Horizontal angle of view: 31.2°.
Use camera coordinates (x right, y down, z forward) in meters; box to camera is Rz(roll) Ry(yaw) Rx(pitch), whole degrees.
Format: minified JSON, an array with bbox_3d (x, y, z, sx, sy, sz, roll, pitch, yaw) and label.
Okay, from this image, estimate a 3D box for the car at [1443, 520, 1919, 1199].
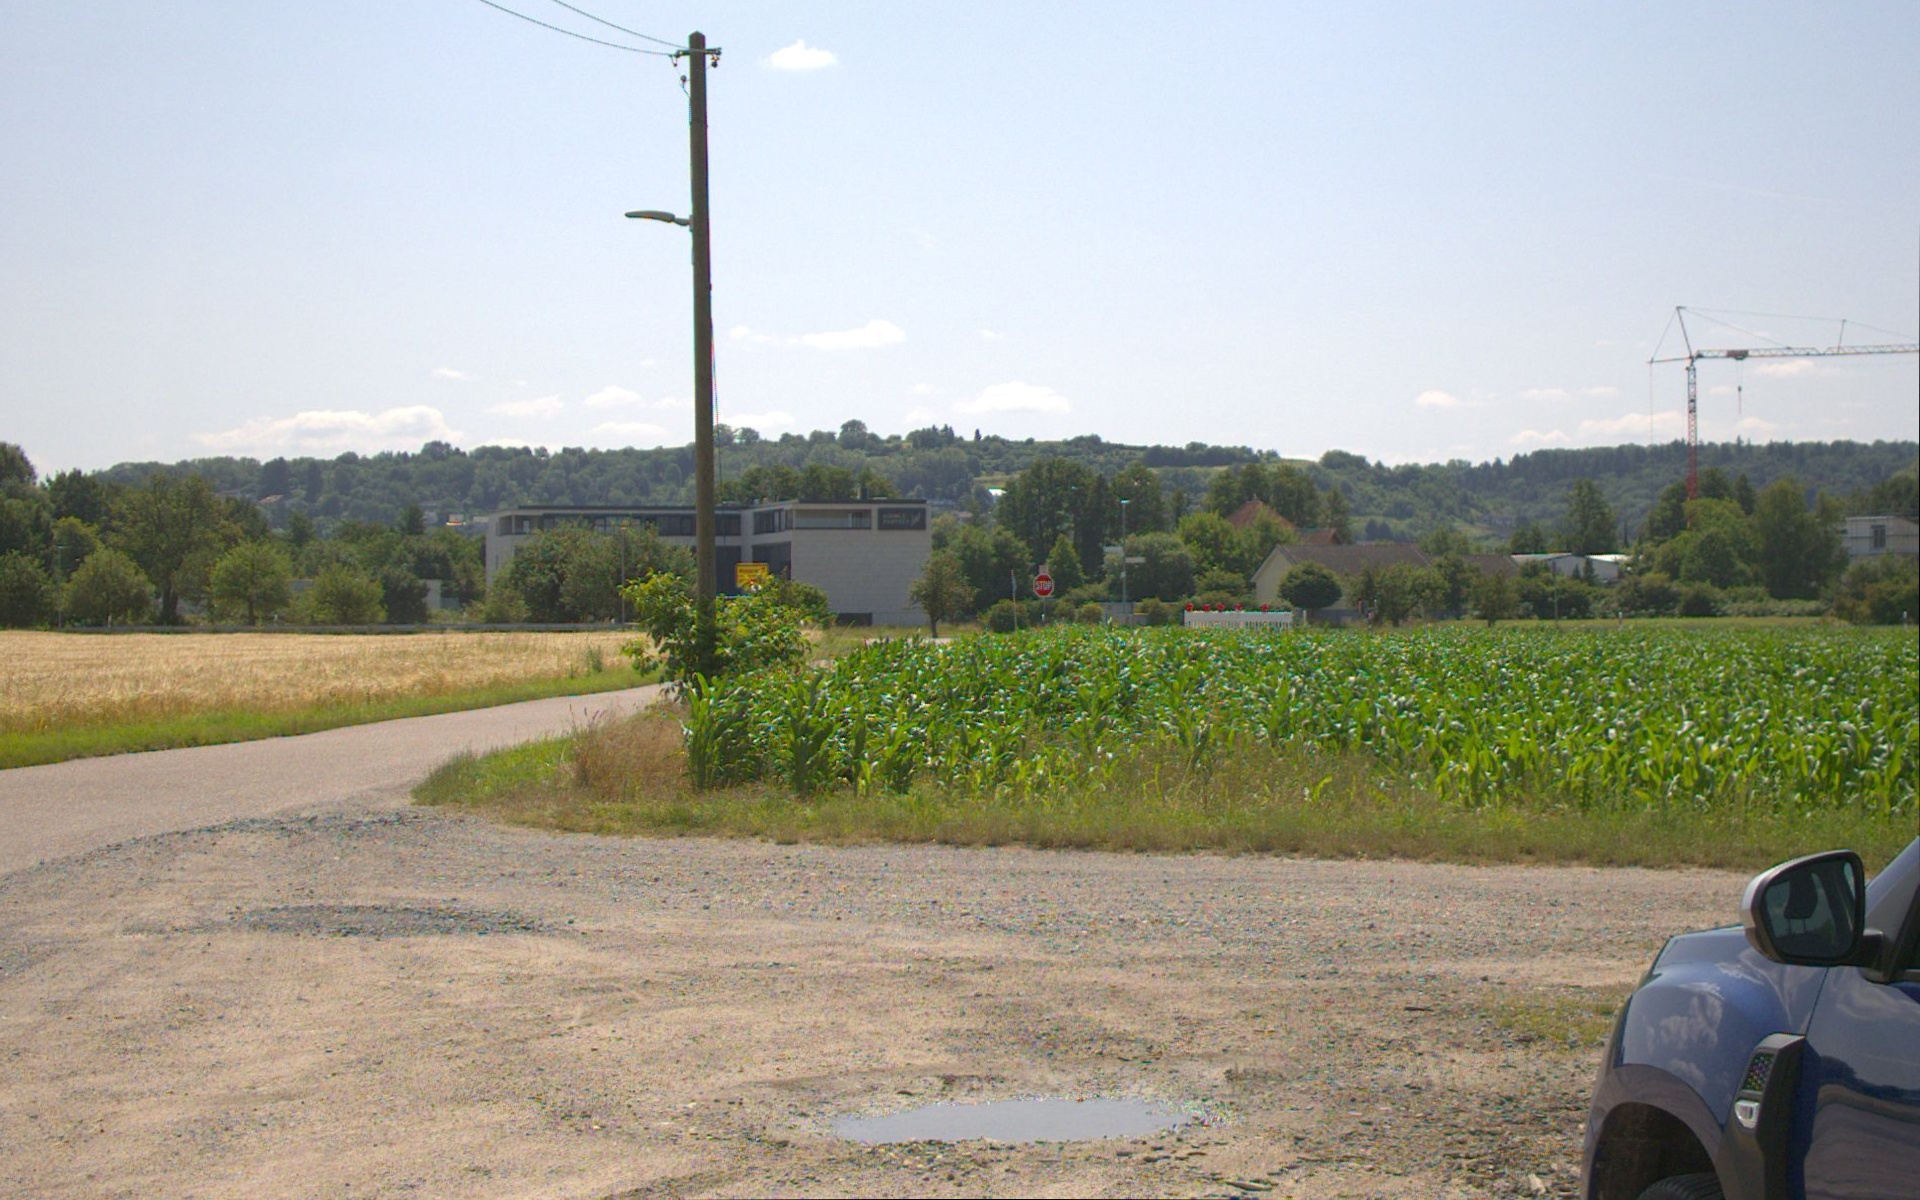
[{"bbox_3d":[2.125,0.736,4.165,1.858,1.655,4.459,1,-1,-8],"label":"car"}]
